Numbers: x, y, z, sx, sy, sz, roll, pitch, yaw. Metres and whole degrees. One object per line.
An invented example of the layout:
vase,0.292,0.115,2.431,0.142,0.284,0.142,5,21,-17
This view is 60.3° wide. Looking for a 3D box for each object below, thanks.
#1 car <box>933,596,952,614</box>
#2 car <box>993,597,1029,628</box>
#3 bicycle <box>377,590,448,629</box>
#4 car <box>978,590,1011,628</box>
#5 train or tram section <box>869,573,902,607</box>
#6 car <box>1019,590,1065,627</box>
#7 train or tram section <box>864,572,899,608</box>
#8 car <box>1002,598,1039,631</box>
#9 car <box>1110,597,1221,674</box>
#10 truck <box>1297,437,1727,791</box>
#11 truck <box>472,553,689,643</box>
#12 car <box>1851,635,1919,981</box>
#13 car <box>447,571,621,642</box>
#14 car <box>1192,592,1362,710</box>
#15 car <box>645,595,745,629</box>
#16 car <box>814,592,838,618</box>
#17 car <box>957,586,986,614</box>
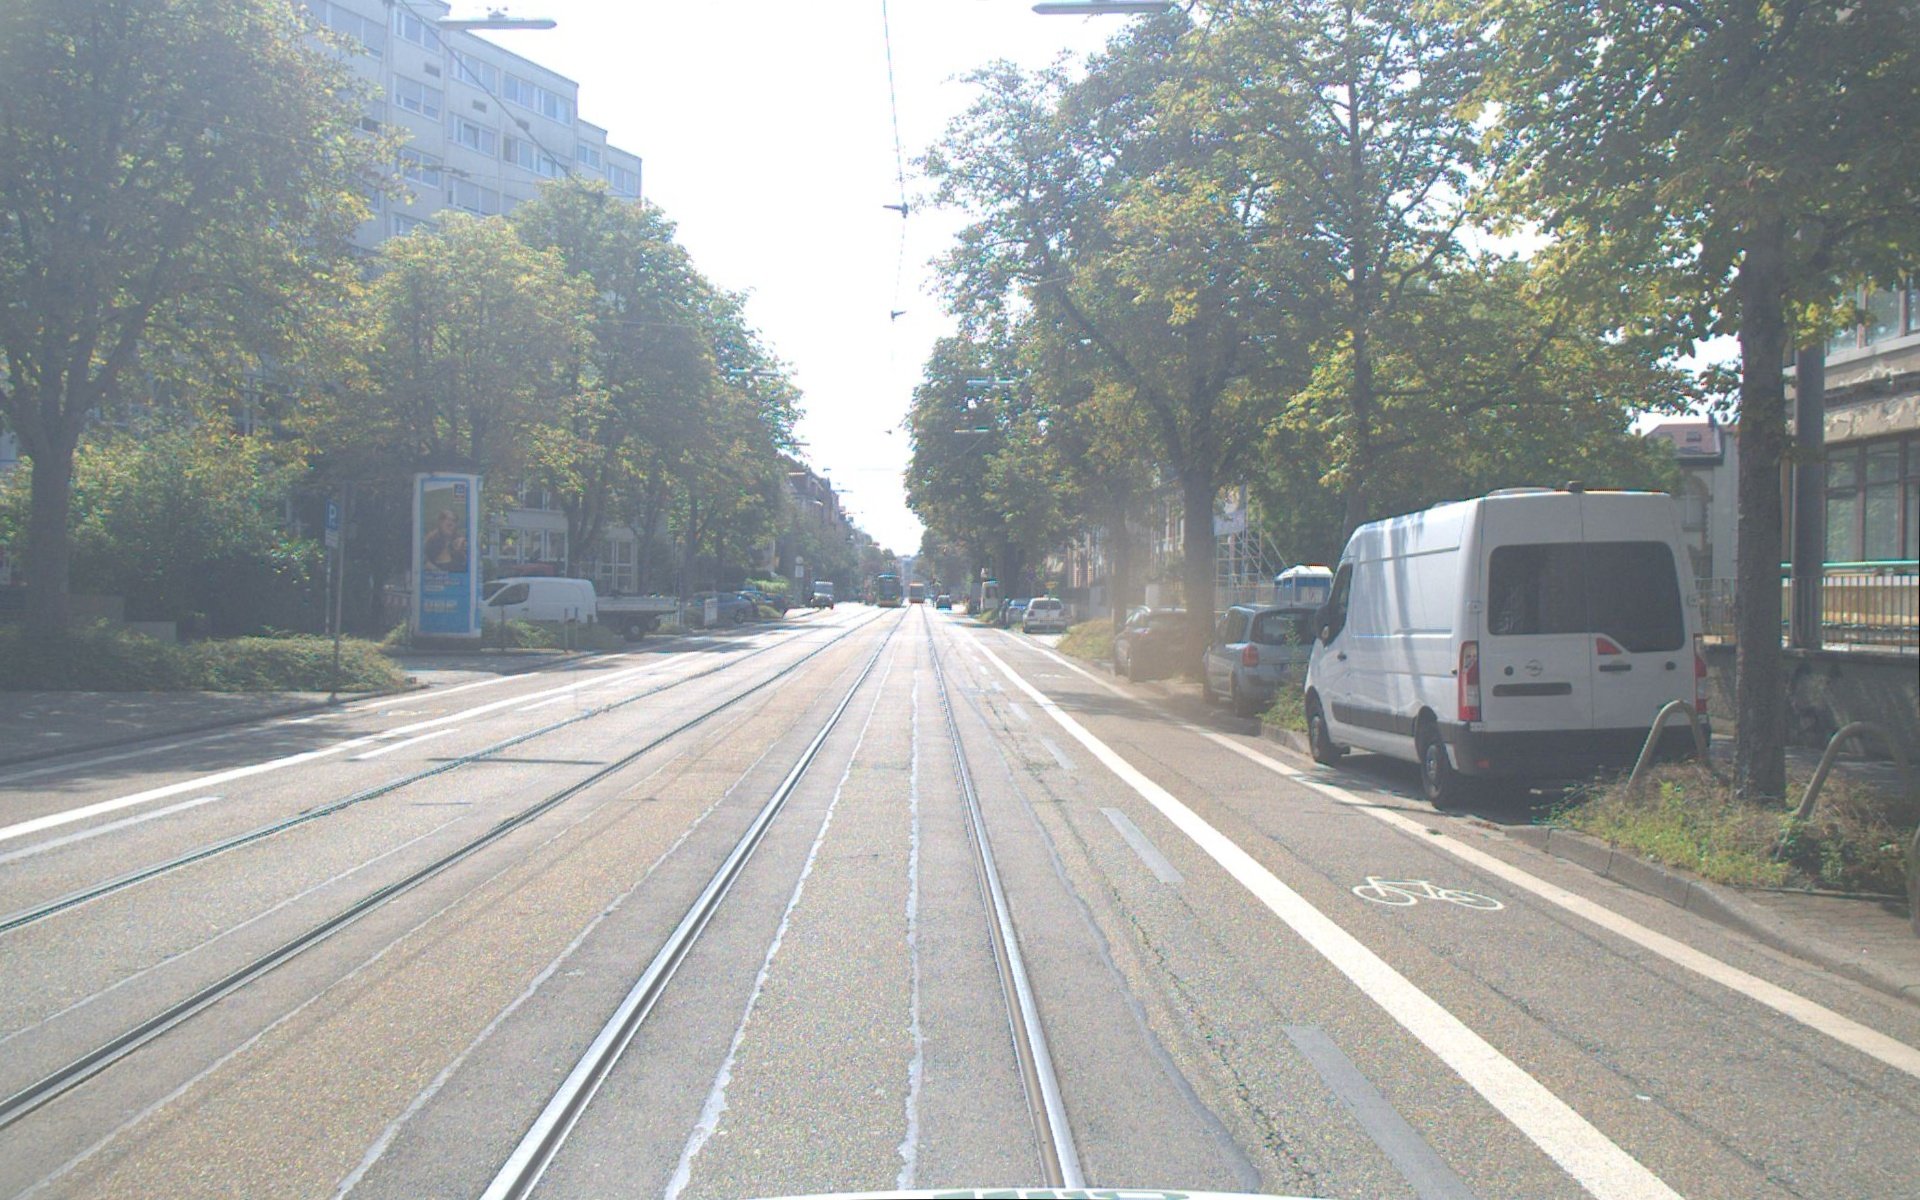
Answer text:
car,-1.895,0.513,175.984,1.953,1.832,3.999,1,0,-1
car,2.679,0.656,87.698,1.757,1.604,4.000,1,0,0
bicycle,-18.353,0.319,55.439,2.290,1.189,0.602,2,0,19
car,2.264,0.604,109.340,1.953,2.407,3.999,1,0,-1
train or tram section,-8.785,-1.196,196.689,3.426,3.769,12.411,1,0,-1
car,3.342,0.350,68.034,1.754,1.471,3.733,0,0,1
train or tram section,-8.690,-1.114,184.264,3.426,3.769,12.411,1,0,-1
car,2.969,0.699,81.509,1.607,1.538,3.640,1,0,-1
car,4.216,0.693,34.614,1.640,1.483,4.662,0,0,-1
truck,4.755,0.115,15.298,1.878,2.644,5.589,1,0,-3
truck,-11.061,-0.055,48.512,5.915,2.477,2.119,0,0,-41
car,4.964,0.901,5.215,1.651,1.465,4.802,1,0,-1
car,-11.439,0.166,44.586,4.254,1.803,1.795,0,0,-45
car,4.670,0.716,24.912,1.640,1.607,4.170,-1,0,-1
car,-12.368,0.526,77.326,1.647,1.477,4.661,1,1,41
car,-12.836,0.476,158.687,2.198,2.484,3.996,1,0,-5
car,0.932,-0.018,136.317,1.955,2.272,3.995,0,0,-6
